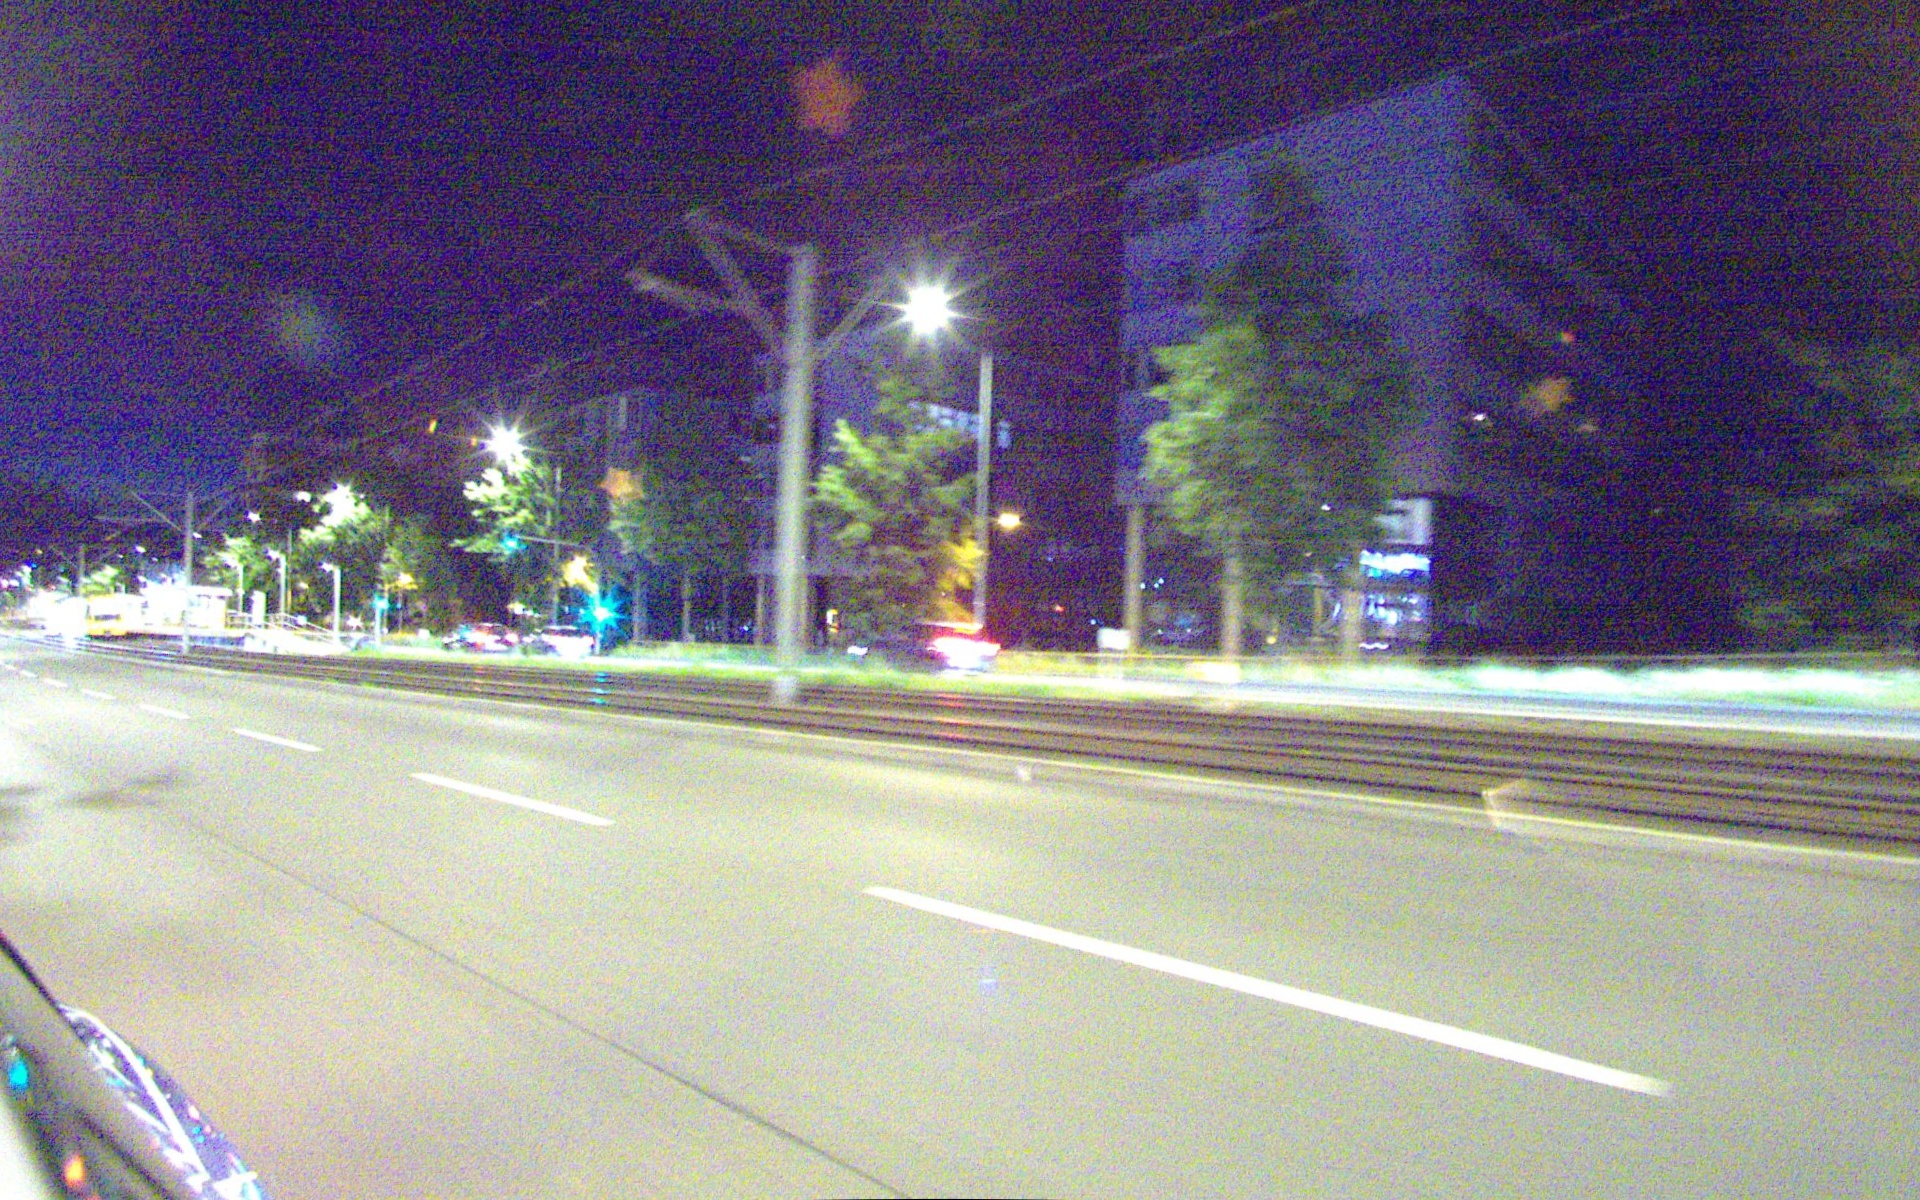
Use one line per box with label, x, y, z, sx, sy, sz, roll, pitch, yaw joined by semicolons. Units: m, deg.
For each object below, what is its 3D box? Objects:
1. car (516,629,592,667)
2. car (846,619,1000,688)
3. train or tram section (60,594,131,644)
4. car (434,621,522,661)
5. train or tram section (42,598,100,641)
car;-17.863;2.071;44.441;3.912;1.528;1.641;-1;-1;44
car;-1.070;1.405;27.823;4.226;1.726;1.760;-1;-1;42
train or tram section;-73.821;1.618;86.185;18.674;3.856;2.728;-1;-1;44
car;-20.398;1.695;42.765;4.170;1.508;1.767;1;0;39
train or tram section;-87.489;1.897;99.440;19.369;3.875;2.707;-1;-1;44
